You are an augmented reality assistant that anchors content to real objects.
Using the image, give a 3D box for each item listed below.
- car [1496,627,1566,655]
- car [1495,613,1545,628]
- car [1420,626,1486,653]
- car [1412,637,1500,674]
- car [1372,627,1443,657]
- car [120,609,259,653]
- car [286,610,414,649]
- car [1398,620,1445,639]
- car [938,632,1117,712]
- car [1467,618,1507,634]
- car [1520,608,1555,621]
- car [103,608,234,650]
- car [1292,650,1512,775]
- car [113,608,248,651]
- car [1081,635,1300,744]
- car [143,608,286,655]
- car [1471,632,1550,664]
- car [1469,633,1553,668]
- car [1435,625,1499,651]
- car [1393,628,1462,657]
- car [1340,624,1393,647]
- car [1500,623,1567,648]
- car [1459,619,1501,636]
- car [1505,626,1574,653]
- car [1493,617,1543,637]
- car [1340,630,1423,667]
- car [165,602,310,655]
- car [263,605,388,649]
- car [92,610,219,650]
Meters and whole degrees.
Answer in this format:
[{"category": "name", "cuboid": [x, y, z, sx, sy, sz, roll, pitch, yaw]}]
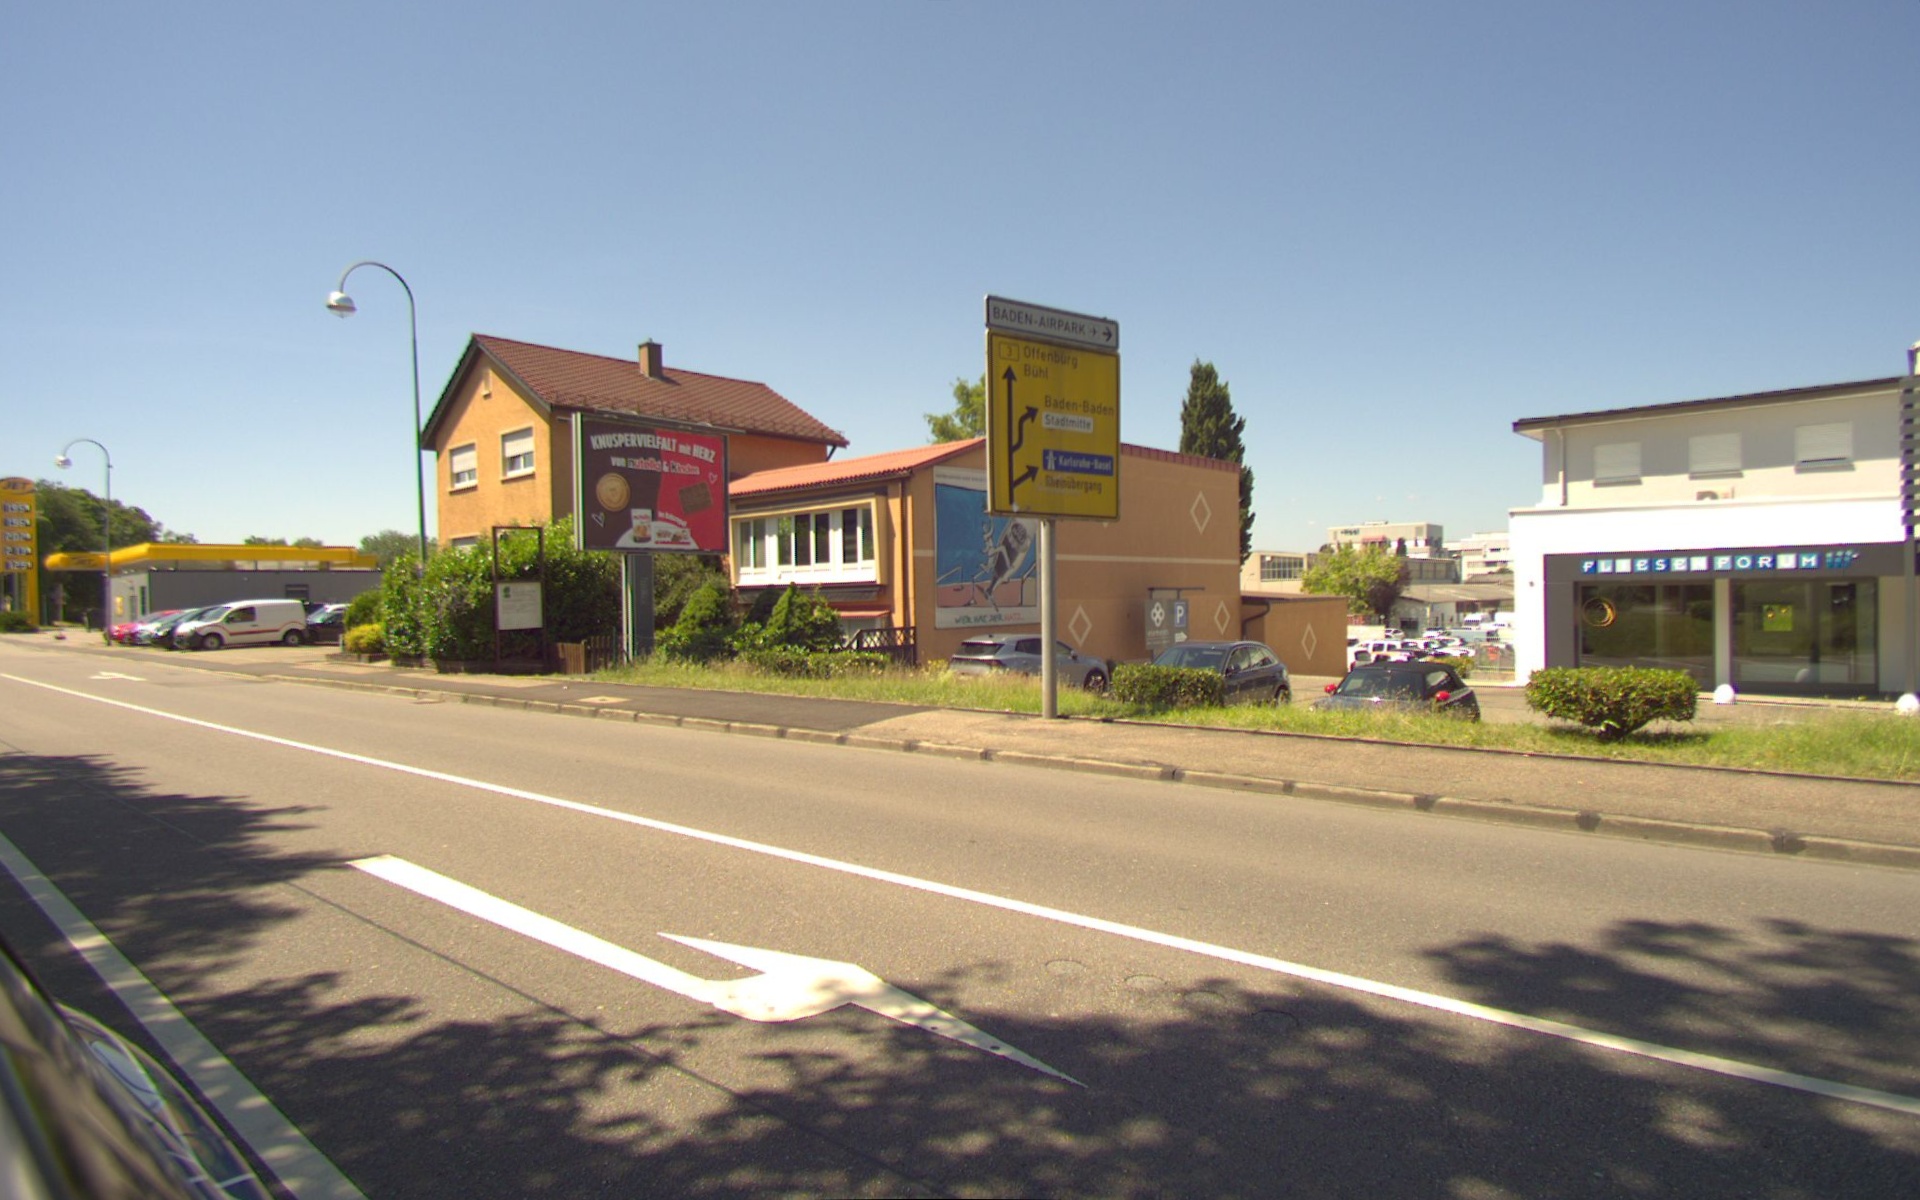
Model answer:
[{"category": "car", "cuboid": [38.220, 2.705, 67.806, 3.774, 1.768, 1.707, -1, -1, 44]}, {"category": "car", "cuboid": [71.736, 2.626, 129.615, 5.303, 1.768, 2.037, -1, -1, 44]}, {"category": "car", "cuboid": [34.459, 2.748, 70.760, 3.774, 1.768, 1.707, -1, -1, 44]}, {"category": "car", "cuboid": [25.966, 2.873, 53.038, 3.774, 1.768, 1.707, -1, -1, 44]}, {"category": "car", "cuboid": [28.309, 2.646, 64.042, 3.774, 1.768, 1.707, -1, -1, 44]}, {"category": "car", "cuboid": [-32.645, 1.276, 42.970, 1.871, 1.773, 4.351, -1, -1, 35]}, {"category": "car", "cuboid": [-26.161, 1.247, 43.515, 1.871, 1.575, 4.351, -1, -1, 35]}, {"category": "car", "cuboid": [44.218, 2.825, 96.967, 3.774, 1.768, 1.707, -1, 0, 44]}, {"category": "car", "cuboid": [1.641, 1.599, 23.614, 4.165, 1.621, 1.773, 0, -1, -42]}, {"category": "car", "cuboid": [61.066, 2.978, 117.354, 3.774, 1.768, 1.707, -1, 1, 44]}, {"category": "car", "cuboid": [77.462, 1.949, 135.712, 3.774, 1.768, 1.707, -1, -1, 44]}, {"category": "car", "cuboid": [-35.896, 1.279, 46.007, 1.871, 1.773, 4.351, -1, -1, 35]}, {"category": "car", "cuboid": [7.067, 1.653, 16.001, 4.039, 1.544, 1.772, 0, -1, -44]}, {"category": "car", "cuboid": [-34.151, 1.259, 44.449, 1.871, 1.773, 4.351, -1, -1, 35]}, {"category": "car", "cuboid": [4.327, 1.525, 18.581, 4.462, 1.654, 1.772, 0, -1, -44]}, {"category": "car", "cuboid": [-29.282, 1.196, 39.854, 1.871, 1.773, 4.198, -1, -1, 35]}, {"category": "car", "cuboid": [32.520, 2.784, 59.868, 3.774, 1.768, 1.707, -1, -1, 44]}, {"category": "car", "cuboid": [30.270, 2.743, 55.640, 3.774, 1.768, 1.707, -1, -1, 44]}, {"category": "car", "cuboid": [36.528, 2.724, 72.979, 3.774, 1.768, 1.707, -1, -1, 44]}, {"category": "car", "cuboid": [31.119, 2.807, 67.424, 3.774, 1.768, 1.707, -1, -1, 44]}, {"category": "car", "cuboid": [33.943, 2.938, 84.518, 3.774, 1.768, 1.707, -1, -1, 44]}, {"category": "car", "cuboid": [42.769, 2.637, 75.557, 4.055, 1.768, 1.707, -1, -1, 44]}, {"category": "car", "cuboid": [57.686, 3.035, 112.369, 3.775, 1.768, 1.706, -3, -1, 45]}, {"category": "car", "cuboid": [39.814, 2.682, 69.563, 3.774, 1.768, 1.707, -1, -1, 44]}, {"category": "car", "cuboid": [53.111, 2.561, 96.354, 3.774, 1.768, 1.707, -1, 0, 44]}, {"category": "car", "cuboid": [24.367, 2.757, 58.537, 4.001, 2.029, 1.971, -1, -1, 44]}, {"category": "car", "cuboid": [-27.549, 1.049, 38.715, 1.871, 1.883, 4.143, -1, -1, 35]}, {"category": "car", "cuboid": [-28.031, 1.138, 44.837, 1.871, 1.839, 4.351, 0, -1, 35]}, {"category": "car", "cuboid": [-37.837, 1.358, 47.697, 1.871, 1.773, 4.351, -1, -1, 35]}]
